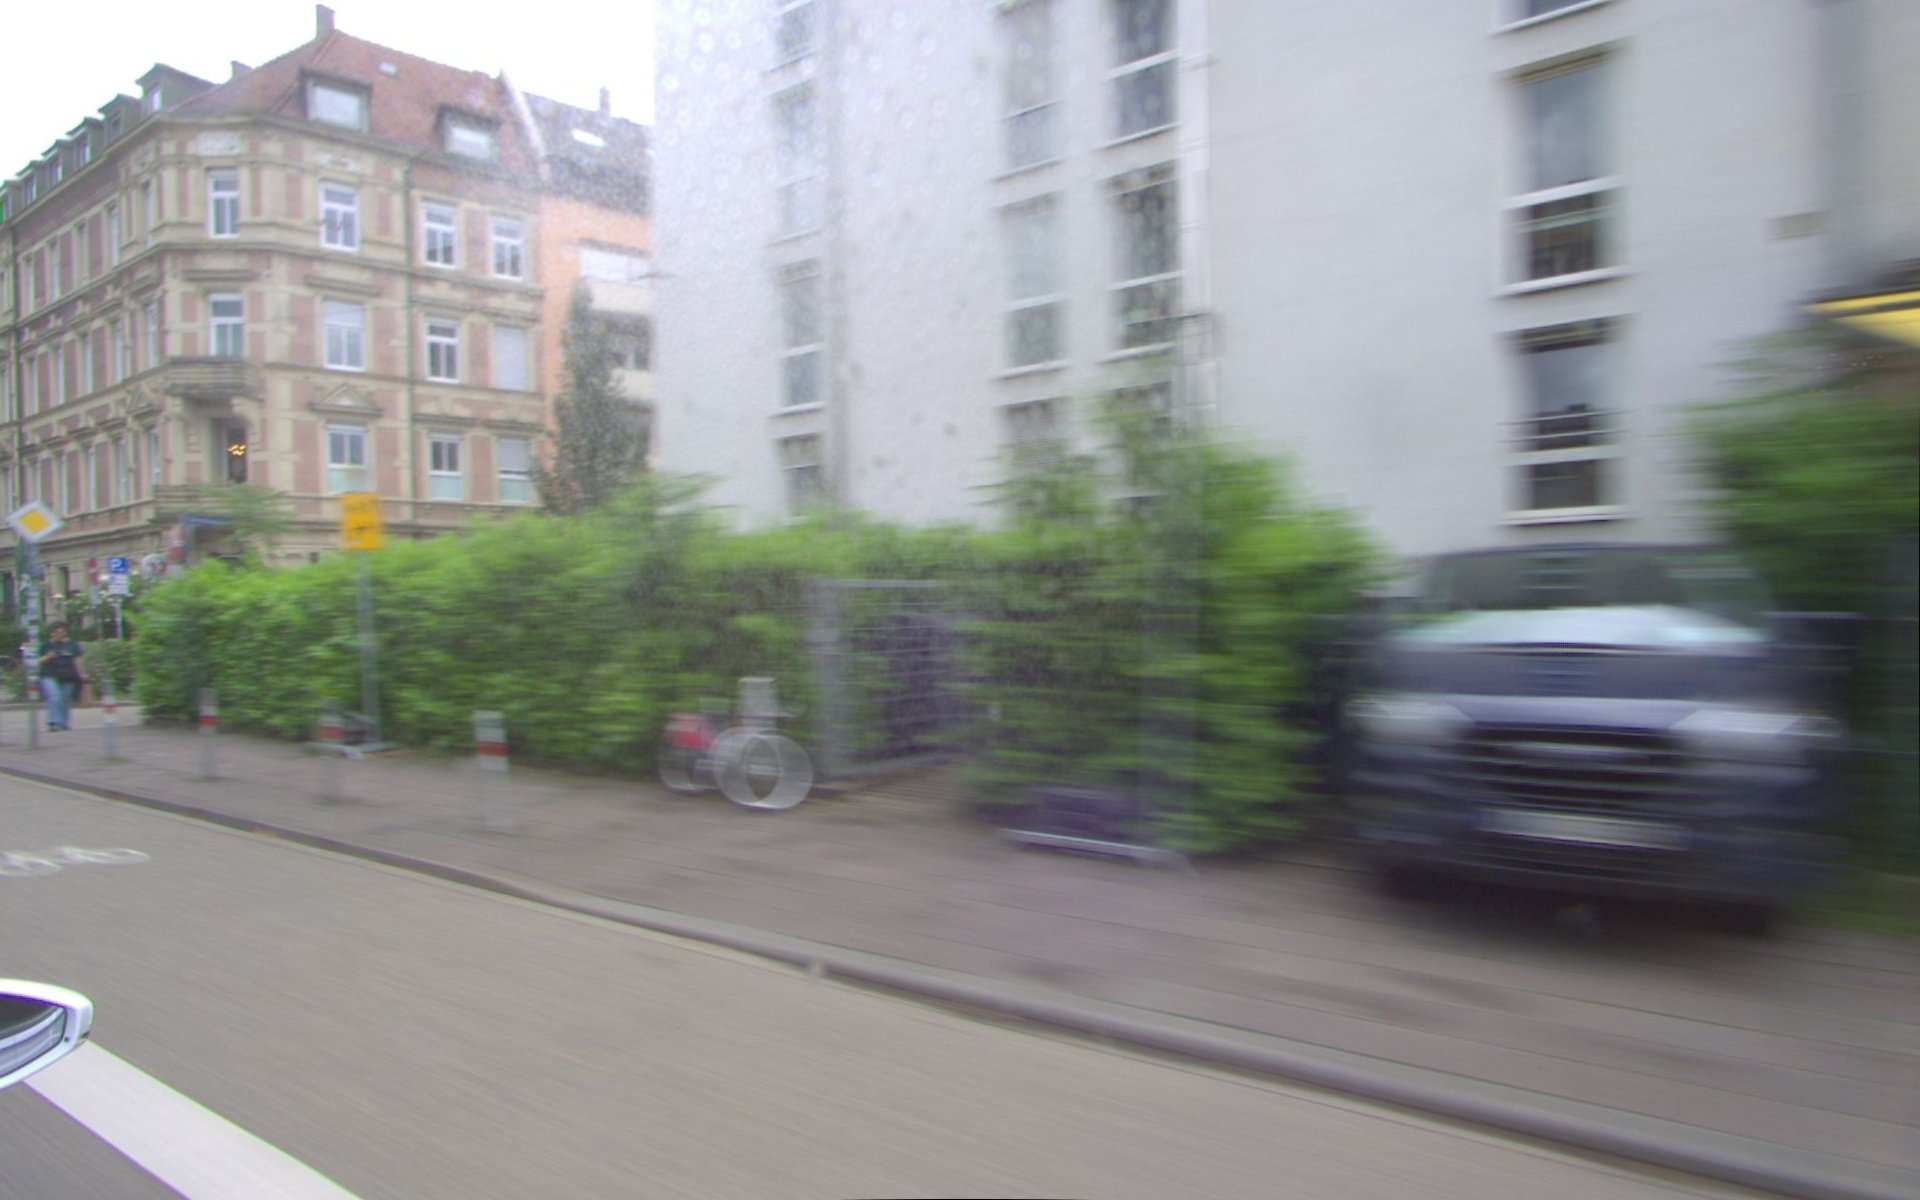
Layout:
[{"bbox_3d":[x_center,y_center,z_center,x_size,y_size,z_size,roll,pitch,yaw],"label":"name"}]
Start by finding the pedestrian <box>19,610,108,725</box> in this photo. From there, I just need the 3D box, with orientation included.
[{"bbox_3d":[-13.683,1.009,15.280,0.825,1.658,0.790,-1,1,35],"label":"pedestrian"}]

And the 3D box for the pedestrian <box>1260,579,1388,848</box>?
[{"bbox_3d":[2.484,0.725,6.812,0.630,1.702,0.737,-1,0,35],"label":"pedestrian"}]

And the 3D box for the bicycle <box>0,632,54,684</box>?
[{"bbox_3d":[-24.436,1.491,25.794,0.507,1.294,1.595,0,0,44],"label":"bicycle"}]

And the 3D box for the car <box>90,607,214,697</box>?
[{"bbox_3d":[-19.370,1.158,23.928,2.037,1.902,4.983,-1,0,-42],"label":"car"}]

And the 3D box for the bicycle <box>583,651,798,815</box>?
[{"bbox_3d":[-2.226,1.030,8.198,1.786,1.143,0.631,0,3,32],"label":"bicycle"}]

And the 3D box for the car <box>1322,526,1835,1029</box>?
[{"bbox_3d":[3.623,0.621,5.918,1.799,1.833,4.268,-1,1,34],"label":"car"}]
